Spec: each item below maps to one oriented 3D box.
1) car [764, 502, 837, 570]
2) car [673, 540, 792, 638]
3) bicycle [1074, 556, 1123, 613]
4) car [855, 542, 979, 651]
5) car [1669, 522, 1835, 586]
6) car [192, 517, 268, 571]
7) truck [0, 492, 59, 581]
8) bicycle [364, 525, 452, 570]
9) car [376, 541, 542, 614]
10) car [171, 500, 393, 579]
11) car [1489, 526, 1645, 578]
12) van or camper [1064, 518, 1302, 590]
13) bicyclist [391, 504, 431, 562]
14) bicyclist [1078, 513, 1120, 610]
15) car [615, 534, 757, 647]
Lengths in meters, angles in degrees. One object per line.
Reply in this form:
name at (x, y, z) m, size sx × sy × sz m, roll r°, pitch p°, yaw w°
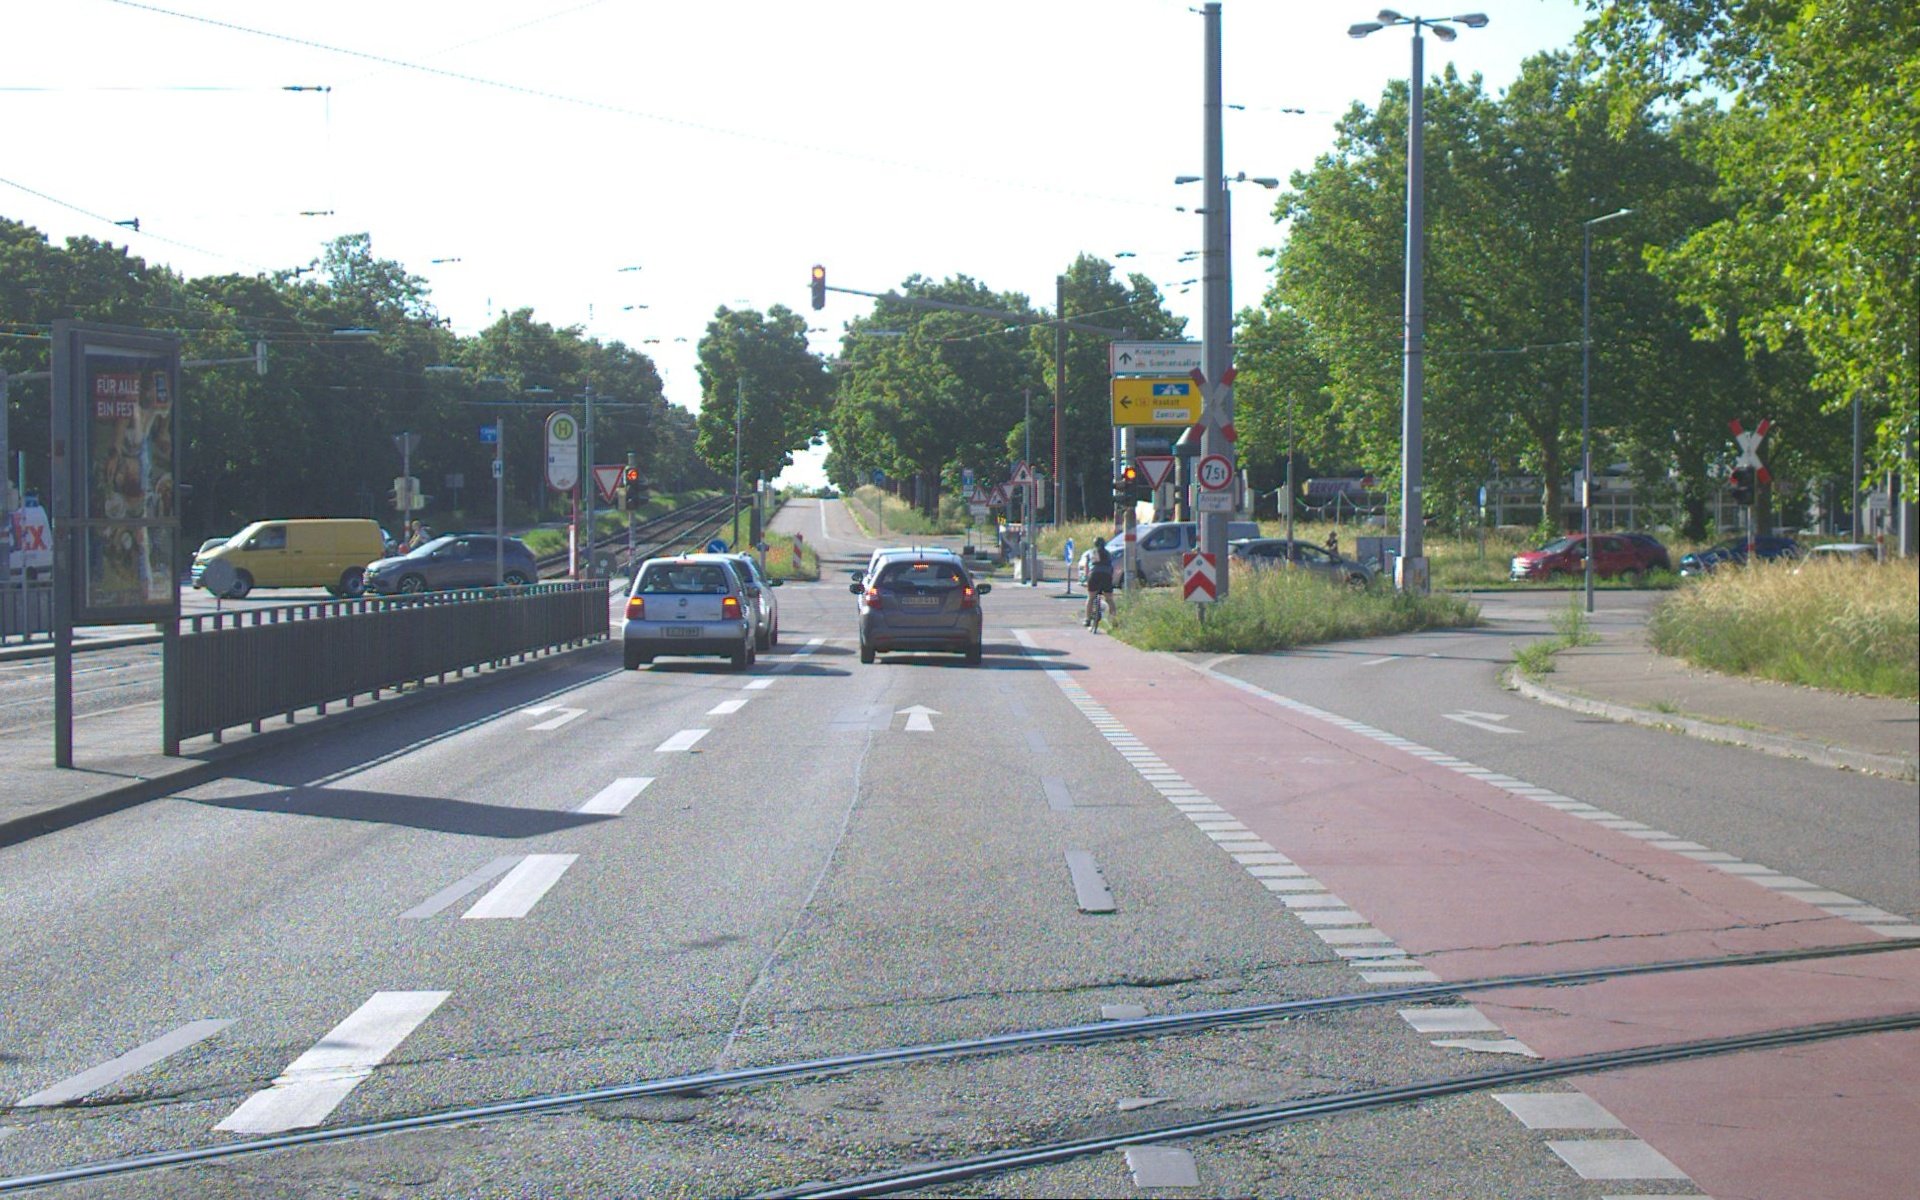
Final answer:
car at (-4.910, -1.970, 106.292) m, size 1.993 × 2.007 × 4.492 m, roll 1°, pitch 1°, yaw 0°
car at (-3.535, -0.191, 53.881) m, size 1.619 × 1.452 × 4.085 m, roll 1°, pitch 1°, yaw -1°
bicycle at (2.496, -0.293, 62.145) m, size 0.722 × 0.985 × 2.876 m, roll 1°, pitch 1°, yaw -1°
car at (-0.637, -0.078, 48.159) m, size 1.668 × 1.457 × 3.587 m, roll 0°, pitch 1°, yaw -2°
car at (24.551, -1.436, 106.619) m, size 4.686 × 1.873 × 2.001 m, roll 1°, pitch 1°, yaw -22°
car at (-21.482, -1.656, 101.251) m, size 1.832 × 1.543 × 4.001 m, roll -1°, pitch 1°, yaw -7°
truck at (-28.576, -1.825, 99.080) m, size 1.995 × 2.556 × 6.819 m, roll 0°, pitch 1°, yaw 14°
bicycle at (-15.694, -1.506, 97.745) m, size 2.395 × 1.258 × 0.817 m, roll 0°, pitch 1°, yaw -18°
car at (-12.310, -0.551, 84.548) m, size 3.609 × 1.703 × 1.752 m, roll 1°, pitch 1°, yaw -32°
car at (-17.203, -1.538, 87.248) m, size 5.154 × 1.873 × 2.000 m, roll 1°, pitch 1°, yaw -27°
car at (16.715, -1.338, 94.656) m, size 4.002 × 1.398 × 1.610 m, roll 0°, pitch 1°, yaw -22°
van or camper at (5.827, -1.212, 89.769) m, size 5.966 × 1.822 × 2.000 m, roll 0°, pitch 1°, yaw -25°
bicyclist at (-15.606, -1.917, 97.770) m, size 1.006 × 1.642 × 0.817 m, roll 0°, pitch 1°, yaw -18°
bicyclist at (2.507, -0.696, 62.058) m, size 0.666 × 1.710 × 0.948 m, roll 1°, pitch 1°, yaw -1°
car at (-3.580, -0.146, 45.290) m, size 1.619 × 1.413 × 3.351 m, roll -1°, pitch 1°, yaw 0°
